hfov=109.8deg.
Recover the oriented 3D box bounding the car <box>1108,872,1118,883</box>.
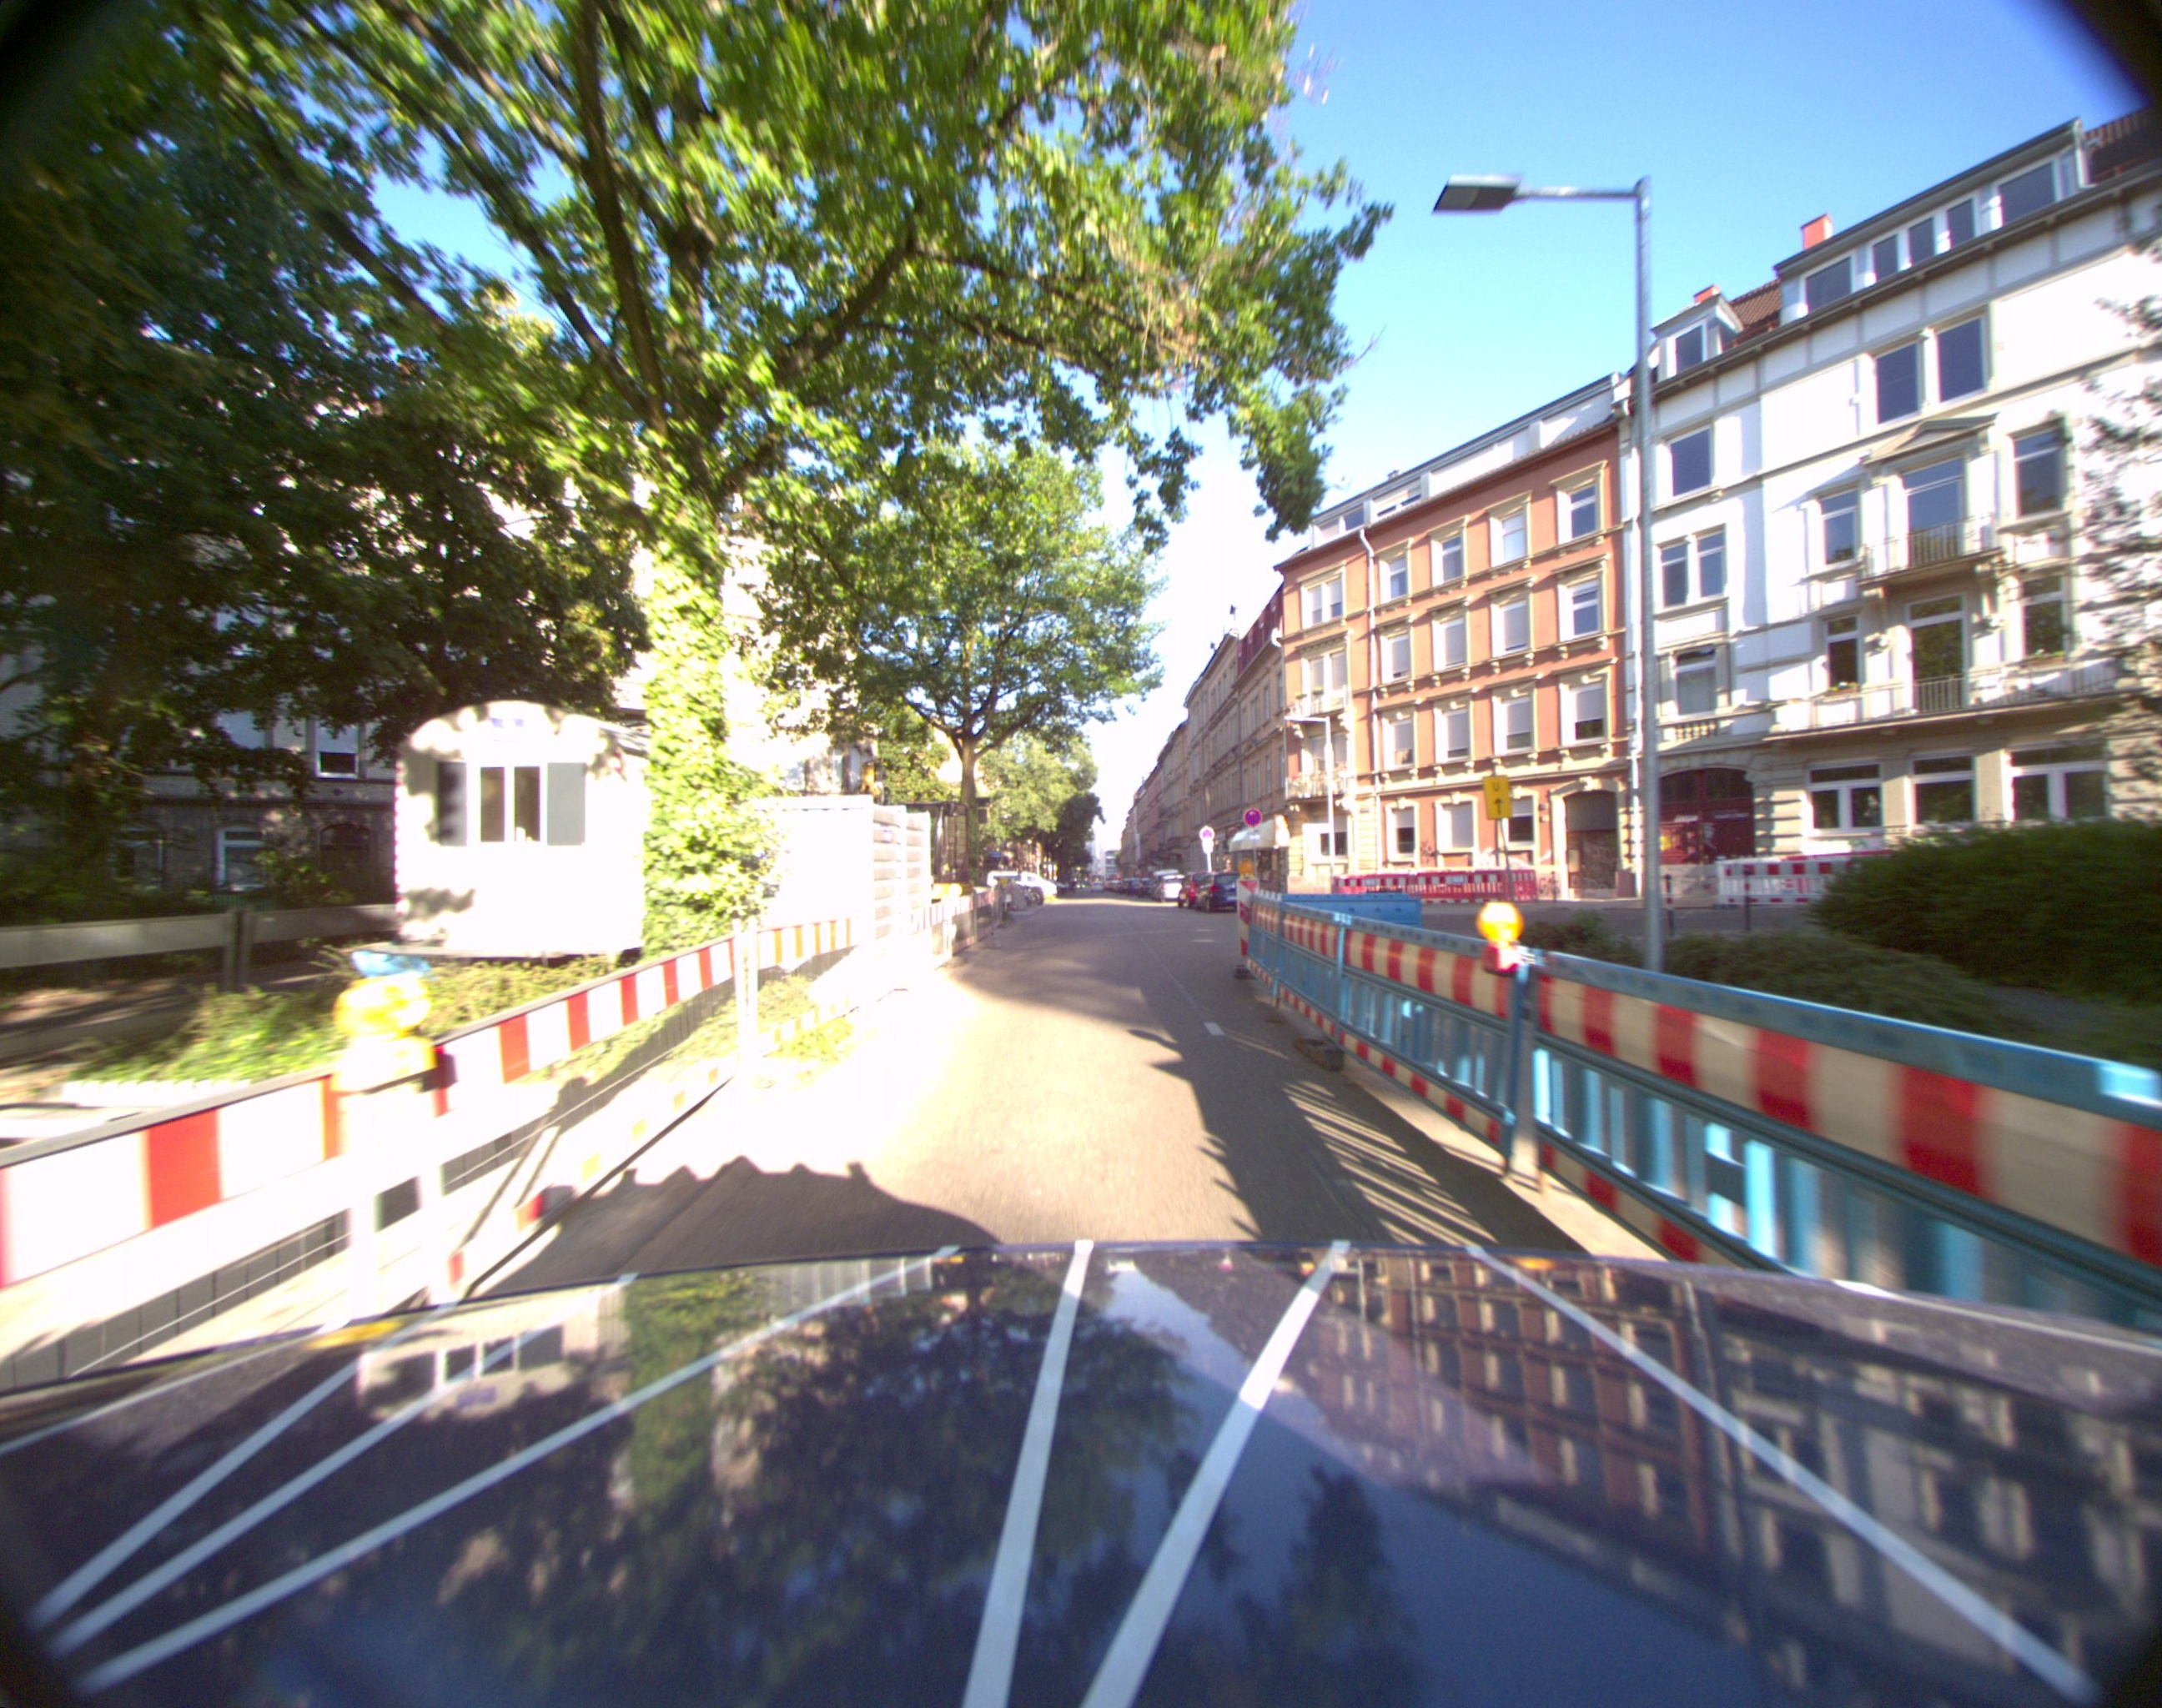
[{"bbox_3d":[5.796,4.165,136.962,1.703,1.740,4.193,0,1,1],"label":"car"}]

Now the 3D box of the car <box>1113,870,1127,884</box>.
[{"bbox_3d":[5.327,3.082,103.336,1.703,1.740,4.193,0,1,1],"label":"car"}]

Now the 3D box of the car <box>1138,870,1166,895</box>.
[{"bbox_3d":[5.366,2.133,57.835,1.703,1.740,4.193,0,1,1],"label":"car"}]

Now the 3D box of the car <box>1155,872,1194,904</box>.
[{"bbox_3d":[5.159,1.846,42.415,1.703,1.560,4.193,0,1,1],"label":"car"}]

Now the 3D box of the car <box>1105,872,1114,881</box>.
[{"bbox_3d":[5.564,4.392,148.409,1.703,1.740,4.193,0,1,1],"label":"car"}]

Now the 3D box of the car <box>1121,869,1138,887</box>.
[{"bbox_3d":[5.311,2.642,83.413,1.703,1.740,4.193,0,1,1],"label":"car"}]

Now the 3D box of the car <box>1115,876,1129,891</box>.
[{"bbox_3d":[5.229,3.770,97.171,1.703,1.740,4.193,0,1,1],"label":"car"}]

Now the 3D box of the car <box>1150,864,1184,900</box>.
[{"bbox_3d":[5.331,1.709,47.724,1.703,2.104,4.193,0,1,1],"label":"car"}]

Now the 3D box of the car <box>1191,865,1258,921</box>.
[{"bbox_3d":[5.170,1.355,27.833,1.703,1.794,4.193,0,1,1],"label":"car"}]

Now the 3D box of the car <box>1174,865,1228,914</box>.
[{"bbox_3d":[5.091,1.456,32.636,1.703,1.829,4.193,0,1,1],"label":"car"}]

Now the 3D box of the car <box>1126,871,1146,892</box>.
[{"bbox_3d":[5.188,2.566,72.160,1.703,1.740,4.193,0,1,1],"label":"car"}]
